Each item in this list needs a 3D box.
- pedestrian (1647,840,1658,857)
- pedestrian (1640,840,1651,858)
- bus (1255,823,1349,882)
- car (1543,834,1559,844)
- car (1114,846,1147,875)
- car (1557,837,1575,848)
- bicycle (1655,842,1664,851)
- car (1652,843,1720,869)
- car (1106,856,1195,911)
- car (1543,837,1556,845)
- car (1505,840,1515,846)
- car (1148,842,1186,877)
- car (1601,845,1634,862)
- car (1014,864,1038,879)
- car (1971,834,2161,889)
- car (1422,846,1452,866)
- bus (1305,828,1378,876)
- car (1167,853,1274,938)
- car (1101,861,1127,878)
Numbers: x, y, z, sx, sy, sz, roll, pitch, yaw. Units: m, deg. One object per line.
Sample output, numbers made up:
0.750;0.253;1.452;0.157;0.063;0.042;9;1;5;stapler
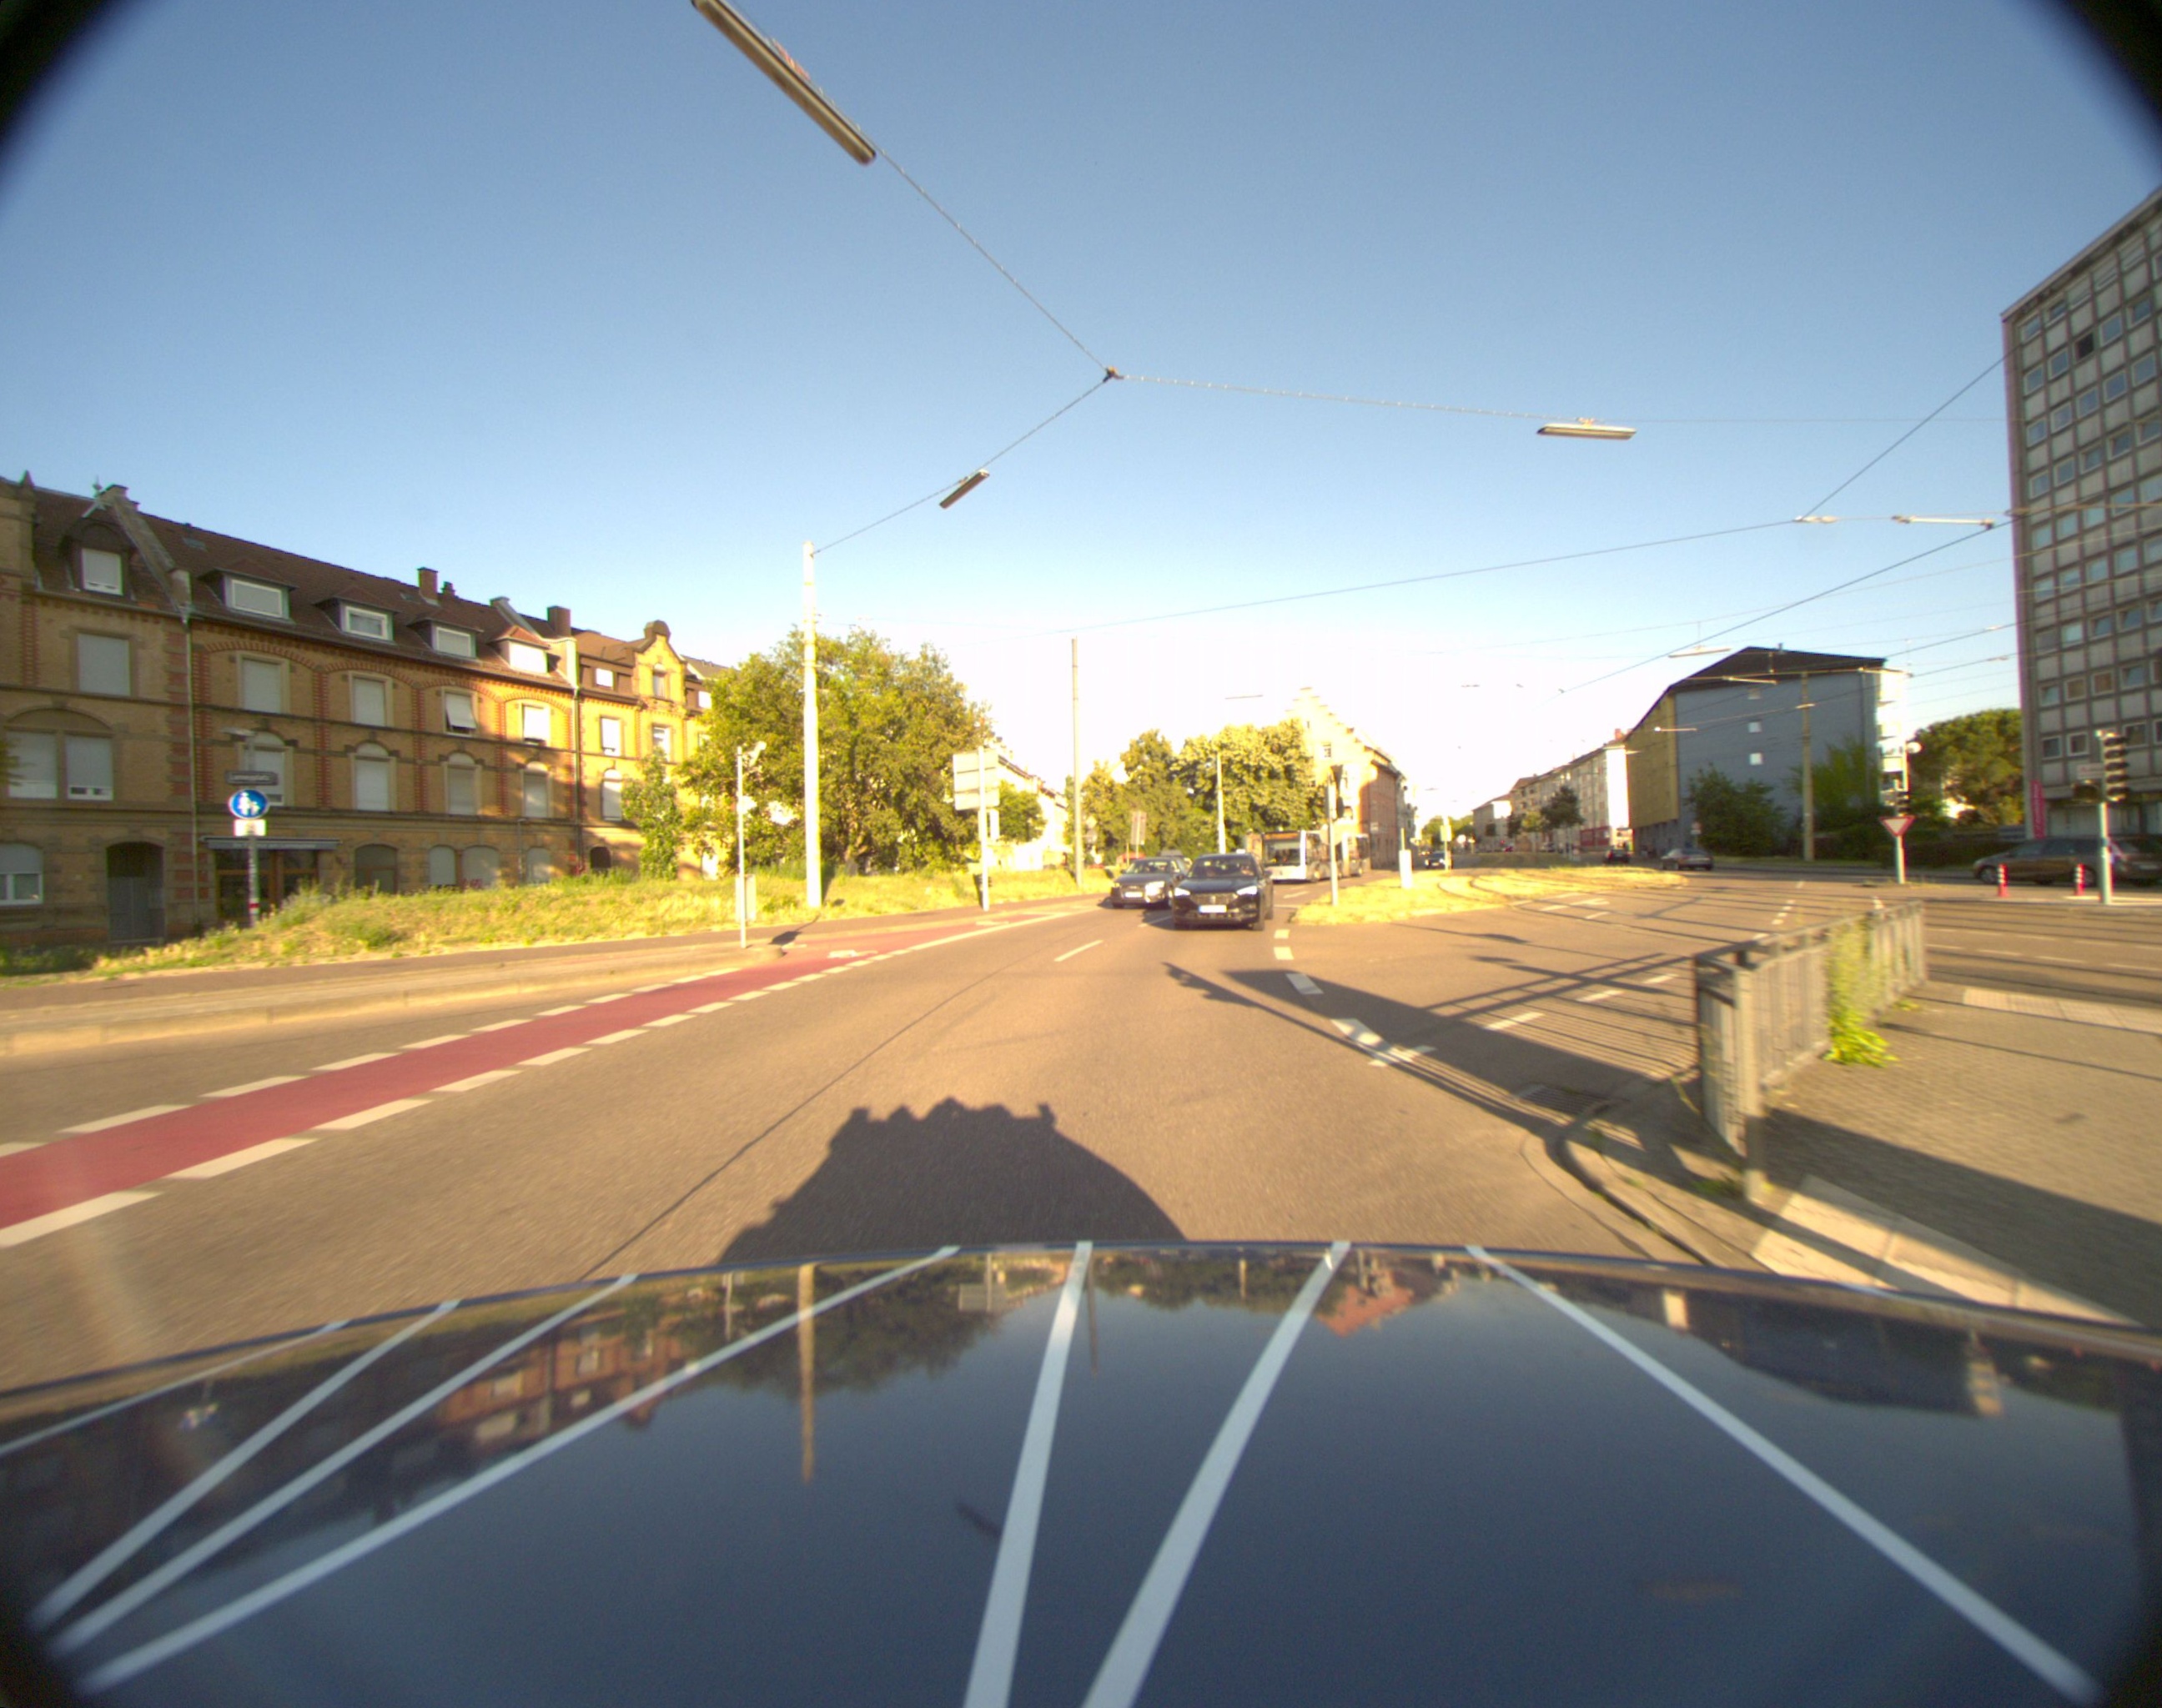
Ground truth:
58.770;-0.575;78.169;0.617;1.684;0.707;-7;-2;29;pedestrian
57.788;-0.531;77.795;0.593;1.762;0.887;-7;-2;29;pedestrian
13.358;-0.094;45.073;2.726;3.059;10.620;-2;0;31;bus
92.817;-2.913;150.056;1.868;1.818;4.428;-1;0;21;car
3.924;0.495;61.375;2.042;2.201;5.414;-2;0;-3;car
76.267;-1.724;119.498;1.919;1.652;4.717;-1;0;28;car
60.671;-0.796;79.669;0.427;0.919;1.915;-6;-2;30;bicycle
38.895;0.101;49.006;1.654;1.586;4.591;-2;0;14;car
2.304;0.887;24.185;1.768;1.578;4.074;-1;0;21;car
84.252;-2.353;136.629;1.698;1.451;4.323;0;1;27;car
103.287;-2.595;182.768;1.794;1.461;4.803;0;2;26;car
6.964;0.447;62.078;2.042;2.650;6.213;-2;0;-3;car
50.923;-0.075;72.192;1.777;1.473;4.407;-1;1;24;car
-4.276;1.356;59.593;1.705;1.083;3.706;-2;0;-3;car
32.359;0.208;24.980;1.583;1.586;4.154;-3;0;7;car
33.051;0.155;70.482;1.994;1.761;4.008;-1;0;31;car
18.779;-0.194;54.298;2.707;3.059;10.620;-2;0;31;bus
3.240;0.830;17.006;1.785;1.615;4.222;-1;0;18;car
3.117;1.435;72.610;1.926;1.531;3.905;-2;0;-4;car
